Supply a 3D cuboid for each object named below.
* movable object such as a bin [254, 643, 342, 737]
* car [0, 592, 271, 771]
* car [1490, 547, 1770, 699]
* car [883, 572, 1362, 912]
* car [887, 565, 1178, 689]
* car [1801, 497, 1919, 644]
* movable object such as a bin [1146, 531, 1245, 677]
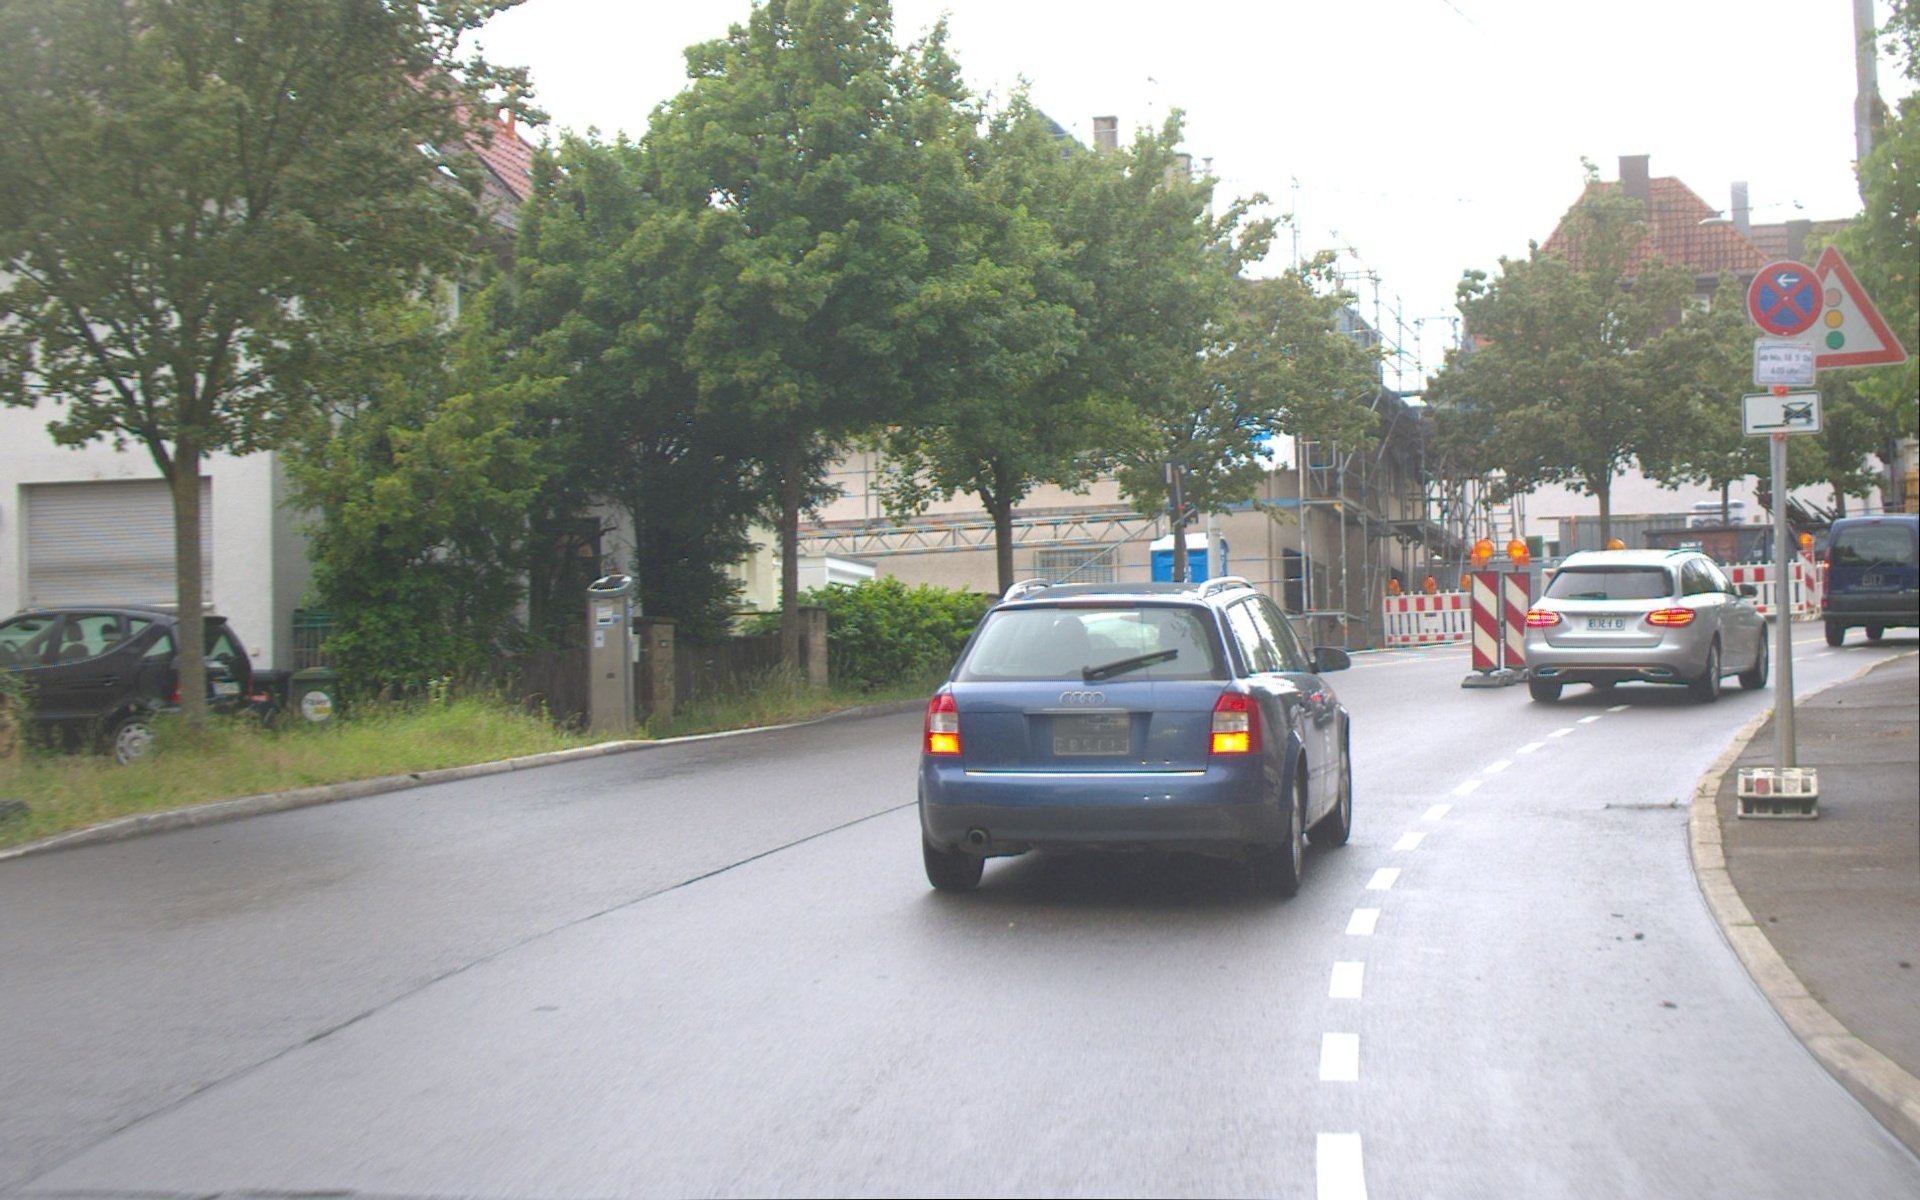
[{"bbox_3d":[-6.680,0.900,34.700,0.670,0.918,0.591,0,1,16],"label":"movable object such as a bin"},{"bbox_3d":[-8.852,0.728,33.017,3.943,1.537,1.862,2,1,16],"label":"car"},{"bbox_3d":[6.694,0.191,34.019,1.911,1.383,4.345,-1,1,22],"label":"car"},{"bbox_3d":[0.922,0.594,16.887,1.778,1.434,3.998,1,1,11],"label":"car"},{"bbox_3d":[1.175,0.437,55.430,4.200,1.599,1.949,-5,-2,17],"label":"car"},{"bbox_3d":[13.380,-0.448,49.107,1.732,1.888,4.050,-5,-1,25],"label":"car"},{"bbox_3d":[4.164,0.067,60.686,1.313,2.497,1.385,-3,0,19],"label":"movable object such as a bin"}]
